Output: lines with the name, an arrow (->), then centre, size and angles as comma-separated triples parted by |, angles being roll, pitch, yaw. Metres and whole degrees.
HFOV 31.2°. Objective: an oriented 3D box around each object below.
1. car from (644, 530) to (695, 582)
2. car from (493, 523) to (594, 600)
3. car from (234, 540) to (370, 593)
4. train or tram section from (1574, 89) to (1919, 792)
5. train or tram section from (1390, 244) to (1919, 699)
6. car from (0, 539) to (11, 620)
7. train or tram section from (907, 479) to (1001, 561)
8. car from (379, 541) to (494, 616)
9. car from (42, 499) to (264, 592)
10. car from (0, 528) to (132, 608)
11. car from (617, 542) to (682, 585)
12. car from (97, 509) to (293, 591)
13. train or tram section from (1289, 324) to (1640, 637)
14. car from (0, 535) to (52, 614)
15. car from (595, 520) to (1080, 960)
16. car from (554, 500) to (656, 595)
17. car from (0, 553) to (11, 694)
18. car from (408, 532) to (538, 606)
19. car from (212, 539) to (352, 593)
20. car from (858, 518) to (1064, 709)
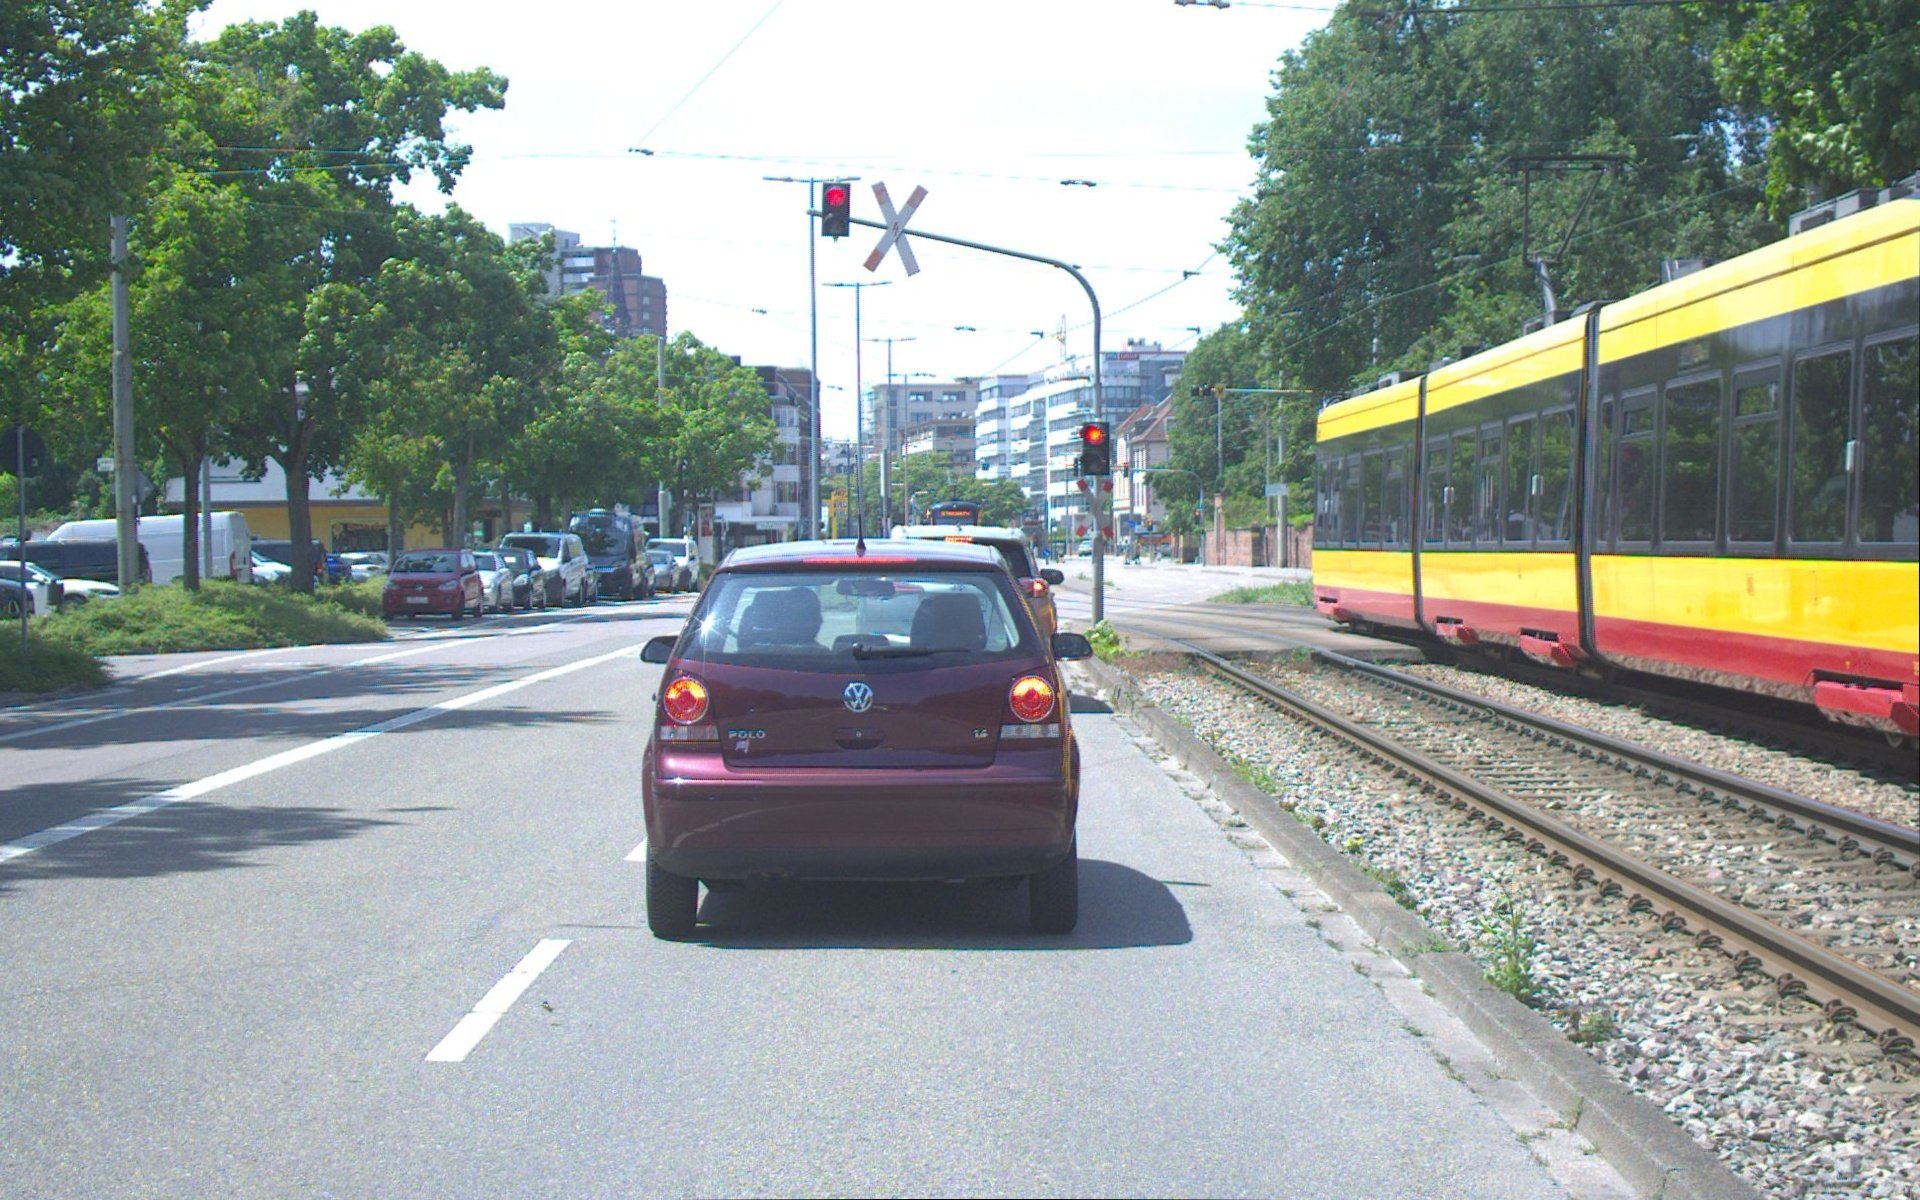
car -> -10.585, -1.593, 124.997 | 1.774, 1.822, 4.001 | 1, 0, -5
car -> -10.698, -0.978, 88.674 | 1.783, 1.875, 4.785 | 1, 0, 2
car -> -21.487, -1.101, 112.349 | 4.020, 1.611, 1.816 | 1, 0, 1
train or tram section -> 6.686, -0.948, 22.342 | 3.028, 3.785, 13.090 | -1, 1, 0
train or tram section -> 6.781, -1.215, 35.439 | 3.028, 3.785, 13.090 | -1, 1, 0
car -> -21.051, -0.360, 67.284 | 4.344, 1.579, 1.912 | -1, 1, 6
train or tram section -> -0.368, -3.699, 159.029 | 2.740, 3.597, 12.873 | 1, 1, -7
car -> -10.910, -0.445, 71.890 | 1.663, 1.491, 4.000 | 1, 0, 1
car -> -20.765, -1.389, 88.658 | 5.097, 2.237, 2.378 | 1, 0, 1
car -> -21.044, -0.717, 78.027 | 3.987, 1.740, 1.998 | -1, 1, -1
car -> -10.753, -1.253, 119.258 | 1.614, 1.436, 4.000 | 1, 0, 3
car -> -22.203, -1.444, 99.927 | 5.097, 2.237, 2.378 | 1, 0, 1
train or tram section -> 6.781, -1.595, 48.417 | 3.028, 3.785, 12.761 | -1, 1, 0
car -> -20.956, -0.494, 69.996 | 4.344, 1.579, 1.912 | -1, 1, 6
car -> -0.466, 0.450, 14.040 | 1.672, 1.516, 4.000 | 1, 1, -1
car -> -10.462, -1.532, 101.712 | 2.361, 2.683, 5.307 | 1, 0, 1
car -> -10.930, 0.270, 34.143 | 1.818, 1.471, 4.449 | 1, 1, -1
car -> -11.063, -0.692, 78.438 | 1.976, 1.595, 4.557 | 1, 0, 4
car -> -21.526, -1.085, 109.268 | 4.020, 1.611, 1.816 | 1, 0, 1
car -> -0.032, 0.074, 32.090 | 1.777, 1.641, 4.000 | 1, 1, -1
